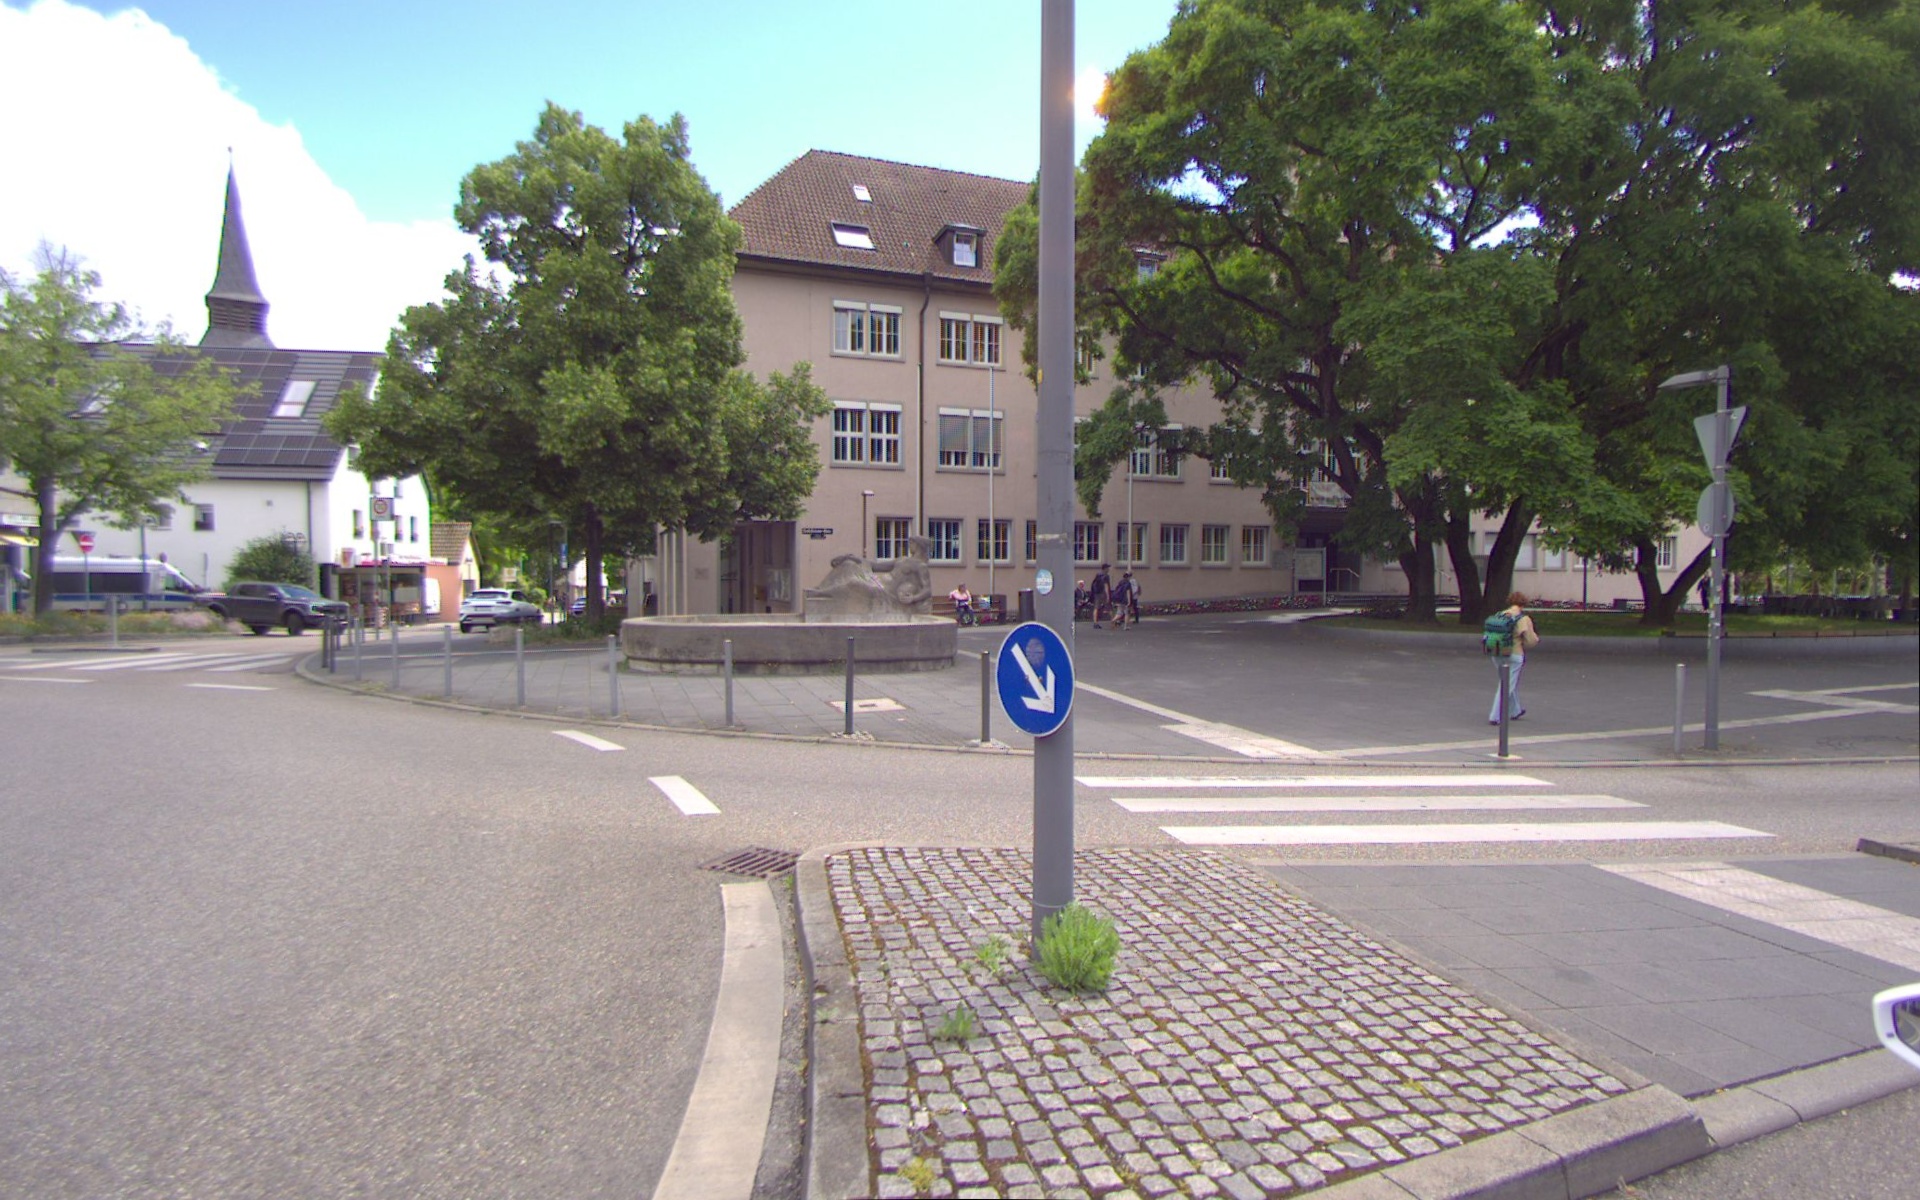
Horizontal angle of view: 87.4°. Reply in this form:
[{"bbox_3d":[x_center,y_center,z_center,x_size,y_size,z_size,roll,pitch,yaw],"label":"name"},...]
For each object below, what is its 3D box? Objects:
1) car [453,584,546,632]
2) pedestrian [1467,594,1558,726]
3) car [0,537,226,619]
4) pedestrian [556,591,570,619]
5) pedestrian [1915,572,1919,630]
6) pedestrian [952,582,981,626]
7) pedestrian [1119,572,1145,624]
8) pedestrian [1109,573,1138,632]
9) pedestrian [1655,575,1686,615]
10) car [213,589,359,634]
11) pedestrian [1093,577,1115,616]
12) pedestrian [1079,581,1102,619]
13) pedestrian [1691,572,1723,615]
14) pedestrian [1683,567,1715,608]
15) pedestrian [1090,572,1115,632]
[{"bbox_3d":[-16.105,0.252,35.330,1.948,1.551,3.993,1,0,-9],"label":"car"},{"bbox_3d":[6.724,0.714,12.249,0.774,1.535,0.551,-1,3,-10],"label":"pedestrian"},{"bbox_3d":[-31.083,-0.699,37.041,6.257,2.593,2.180,3,-3,-41],"label":"car"},{"bbox_3d":[-22.054,0.275,55.750,0.587,1.569,0.579,2,1,-13],"label":"pedestrian"},{"bbox_3d":[26.701,0.030,27.476,0.574,1.598,0.613,1,1,-21],"label":"pedestrian"},{"bbox_3d":[0.184,0.123,29.944,0.689,1.279,0.579,2,1,-15],"label":"pedestrian"},{"bbox_3d":[5.143,-0.051,30.063,0.686,1.512,0.815,2,1,7],"label":"pedestrian"},{"bbox_3d":[4.433,0.056,27.264,0.626,1.544,0.576,2,5,-3],"label":"pedestrian"},{"bbox_3d":[28.817,-0.204,40.737,0.776,1.598,0.634,1,1,-17],"label":"pedestrian"},{"bbox_3d":[-23.382,0.395,34.915,3.921,1.439,1.690,1,1,0],"label":"car"},{"bbox_3d":[4.620,-0.108,32.282,0.479,1.238,0.580,2,1,30],"label":"pedestrian"},{"bbox_3d":[4.120,0.000,31.713,0.479,1.198,0.580,2,1,30],"label":"pedestrian"},{"bbox_3d":[29.270,-0.263,39.361,0.627,1.649,0.785,1,1,-18],"label":"pedestrian"},{"bbox_3d":[29.775,-0.506,40.470,0.627,1.598,0.785,1,1,-18],"label":"pedestrian"},{"bbox_3d":[3.973,0.051,28.007,0.563,1.631,0.437,2,5,-3],"label":"pedestrian"}]
